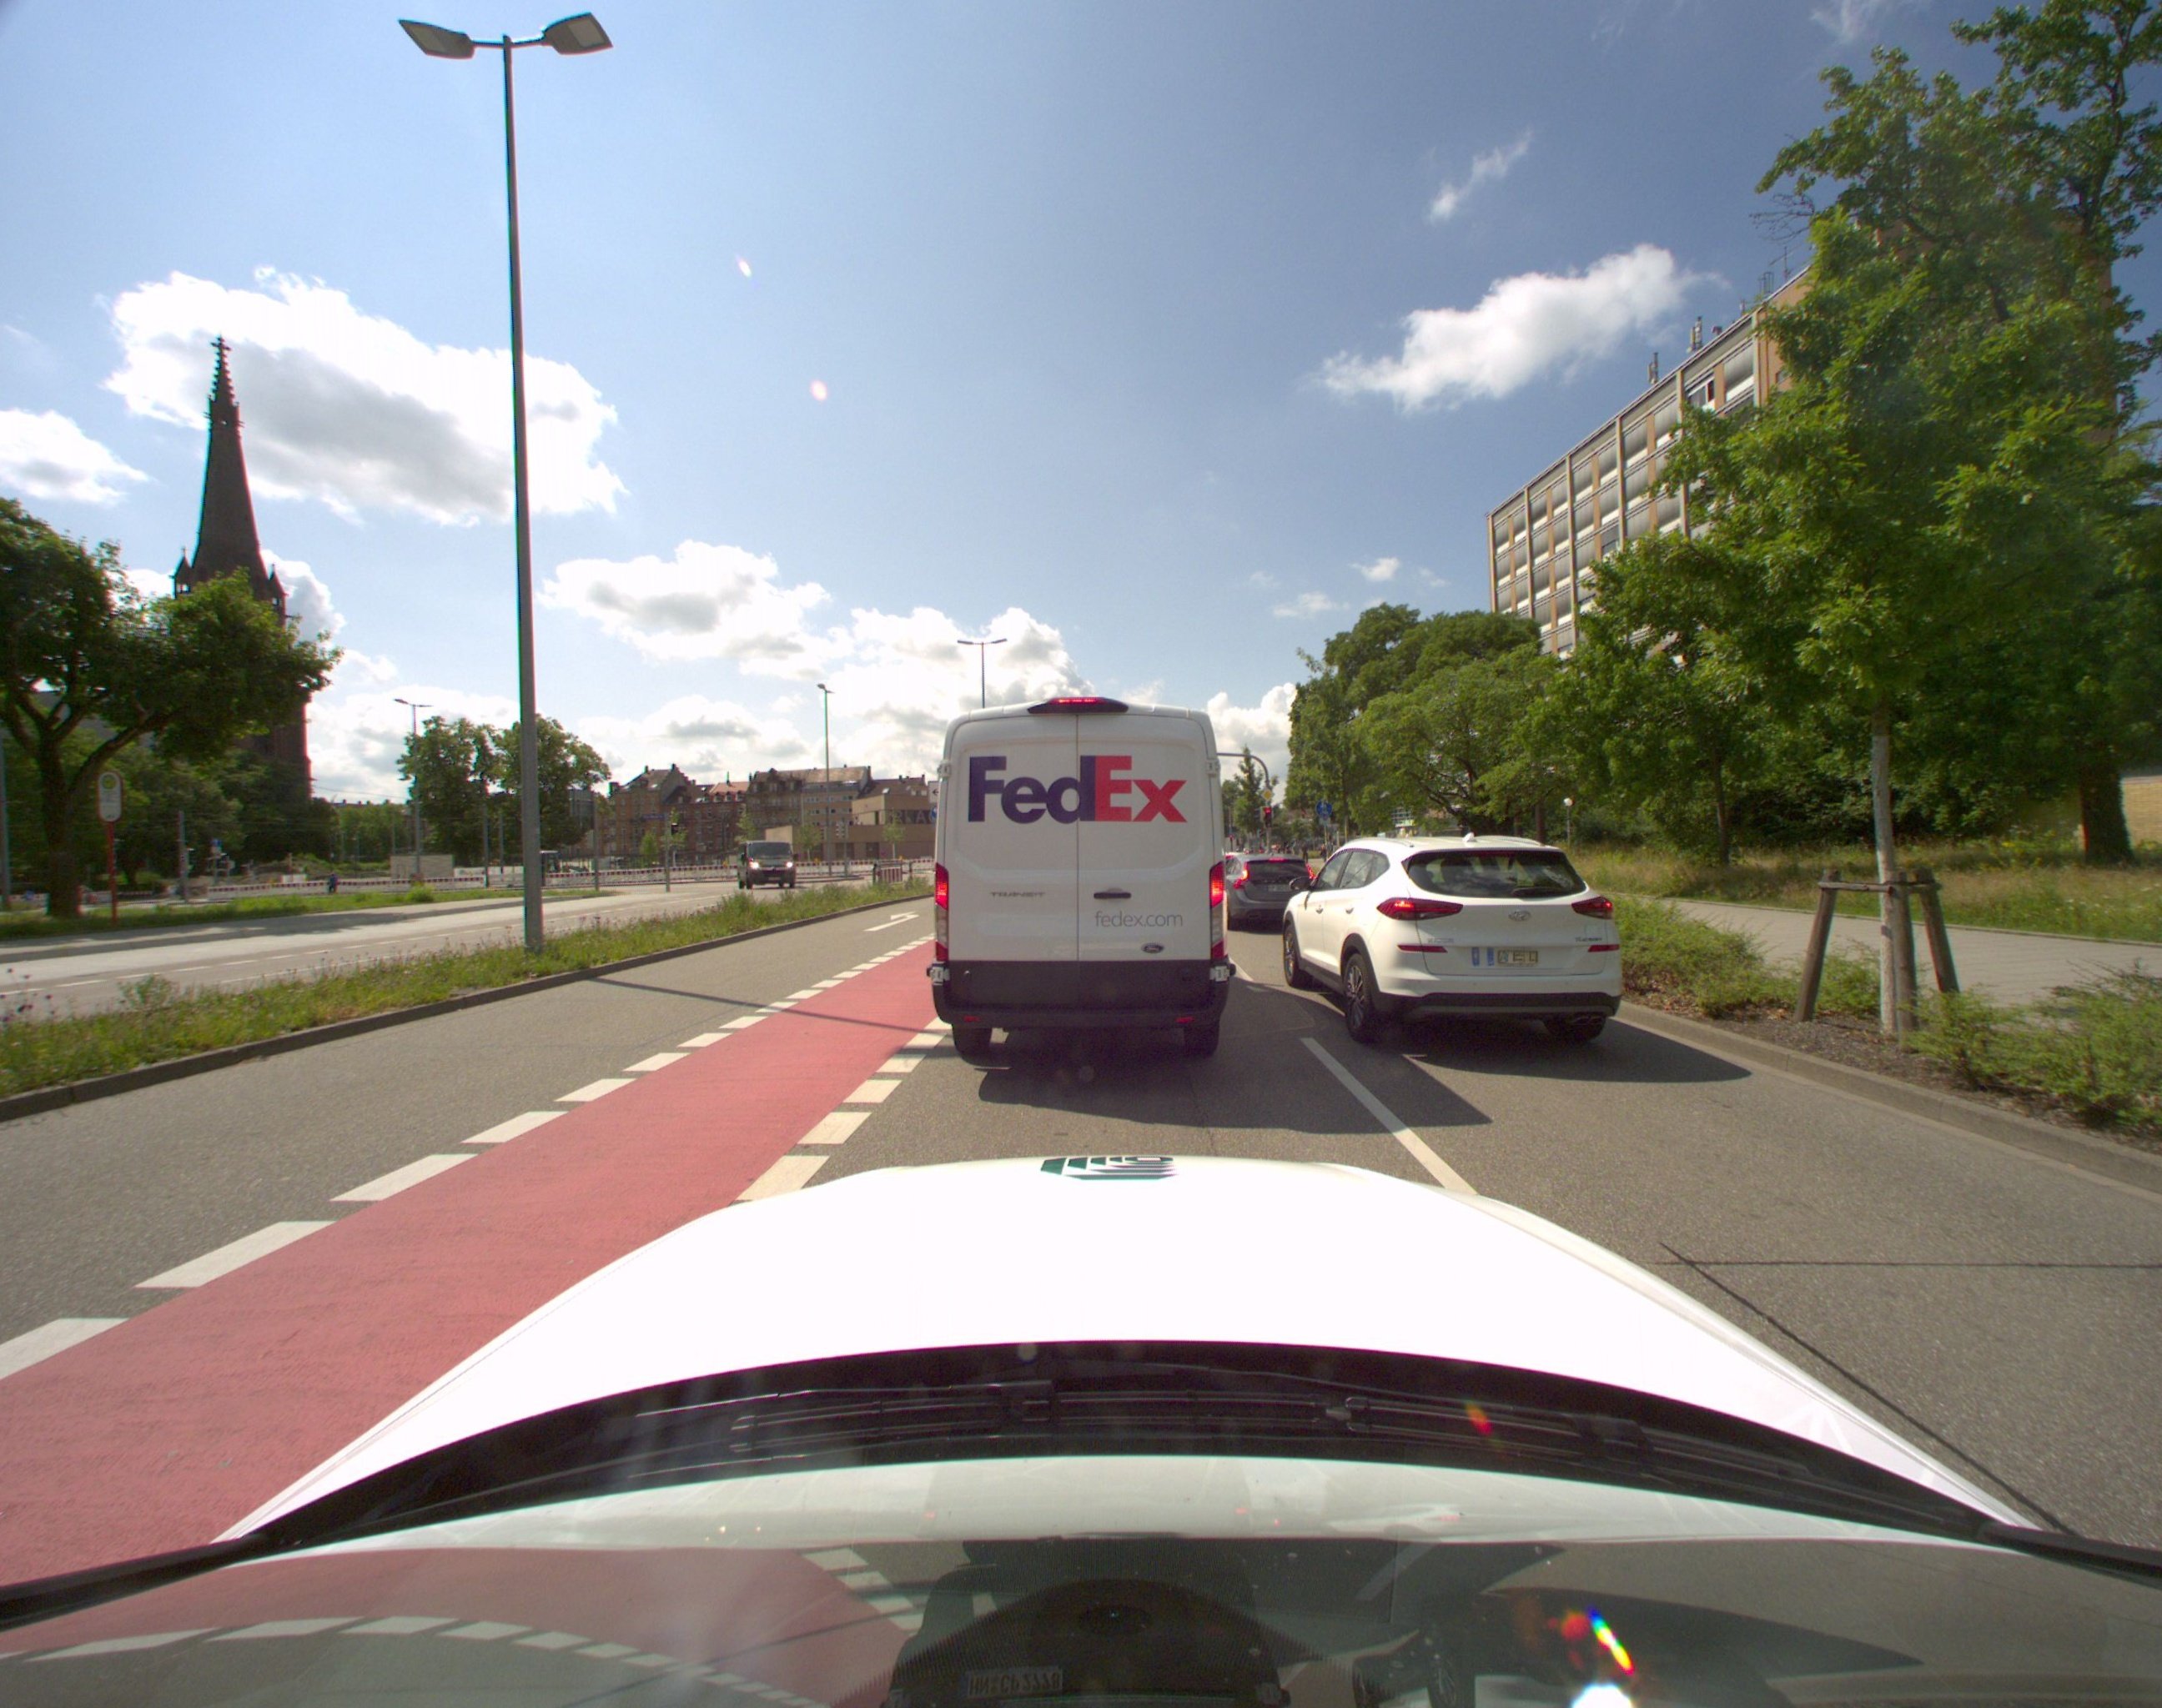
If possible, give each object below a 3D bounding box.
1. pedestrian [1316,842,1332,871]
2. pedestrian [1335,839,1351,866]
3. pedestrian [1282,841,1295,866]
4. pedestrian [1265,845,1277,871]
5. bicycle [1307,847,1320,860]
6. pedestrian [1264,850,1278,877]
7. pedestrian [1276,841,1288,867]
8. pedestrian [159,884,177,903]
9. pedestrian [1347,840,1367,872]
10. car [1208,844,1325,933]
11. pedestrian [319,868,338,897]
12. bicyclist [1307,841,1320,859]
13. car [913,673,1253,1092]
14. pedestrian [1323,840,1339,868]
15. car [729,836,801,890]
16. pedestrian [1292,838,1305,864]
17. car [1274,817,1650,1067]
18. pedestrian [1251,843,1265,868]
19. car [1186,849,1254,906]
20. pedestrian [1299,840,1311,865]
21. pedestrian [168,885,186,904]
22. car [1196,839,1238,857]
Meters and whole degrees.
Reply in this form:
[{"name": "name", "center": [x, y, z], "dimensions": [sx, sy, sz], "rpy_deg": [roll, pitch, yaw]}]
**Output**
[{"name": "pedestrian", "center": [16.125, 0.151, 54.030], "dimensions": [0.756, 1.849, 0.816], "rpy_deg": [-2, 0, 1]}, {"name": "pedestrian", "center": [18.043, -0.093, 56.078], "dimensions": [0.758, 1.849, 0.814], "rpy_deg": [-2, 0, -6]}, {"name": "pedestrian", "center": [15.541, -0.028, 60.972], "dimensions": [0.755, 1.849, 0.817], "rpy_deg": [-2, 0, 5]}, {"name": "pedestrian", "center": [13.728, 0.315, 58.869], "dimensions": [0.753, 1.849, 0.820], "rpy_deg": [-2, 0, 16]}, {"name": "bicycle", "center": [27.668, -0.074, 96.844], "dimensions": [1.414, 1.464, 4.330], "rpy_deg": [-2, 0, 17]}, {"name": "pedestrian", "center": [13.183, 0.675, 56.526], "dimensions": [0.752, 1.849, 0.820], "rpy_deg": [-2, 0, 20]}, {"name": "pedestrian", "center": [14.859, -0.002, 60.180], "dimensions": [0.752, 1.849, 0.820], "rpy_deg": [-2, 0, 20]}, {"name": "pedestrian", "center": [-81.784, 3.528, 72.946], "dimensions": [0.860, 1.663, 0.745], "rpy_deg": [-2, 0, -29]}, {"name": "pedestrian", "center": [14.577, 0.113, 43.004], "dimensions": [0.755, 1.655, 0.817], "rpy_deg": [-2, 0, 5]}, {"name": "car", "center": [3.626, 0.609, 16.524], "dimensions": [1.684, 1.549, 3.724], "rpy_deg": [-2, 0, 3]}, {"name": "pedestrian", "center": [-52.426, 1.972, 56.760], "dimensions": [0.644, 2.013, 0.632], "rpy_deg": [-2, 0, -1]}, {"name": "bicyclist", "center": [27.631, -0.489, 96.758], "dimensions": [1.421, 2.171, 1.345], "rpy_deg": [-2, 0, 17]}, {"name": "car", "center": [0.135, 0.171, 7.339], "dimensions": [2.064, 2.581, 4.432], "rpy_deg": [-2, 0, 3]}, {"name": "pedestrian", "center": [17.178, 0.005, 55.919], "dimensions": [0.758, 1.849, 0.814], "rpy_deg": [-2, 0, -8]}, {"name": "car", "center": [-14.504, 0.423, 37.211], "dimensions": [2.162, 2.175, 4.969], "rpy_deg": [-4, 0, -30]}, {"name": "pedestrian", "center": [16.014, -0.240, 59.942], "dimensions": [0.755, 1.849, 0.817], "rpy_deg": [-2, 0, 3]}, {"name": "car", "center": [3.088, 0.594, 7.602], "dimensions": [1.807, 1.678, 3.978], "rpy_deg": [-2, 0, 3]}, {"name": "pedestrian", "center": [13.014, 0.114, 59.855], "dimensions": [0.810, 1.849, 0.762], "rpy_deg": [-2, 0, 5]}, {"name": "car", "center": [3.917, 0.609, 23.366], "dimensions": [1.493, 1.464, 3.477], "rpy_deg": [-2, 0, 3]}, {"name": "pedestrian", "center": [16.155, -0.111, 58.702], "dimensions": [0.754, 1.789, 0.818], "rpy_deg": [-2, 0, 10]}, {"name": "pedestrian", "center": [-82.001, 3.634, 73.902], "dimensions": [0.860, 1.663, 0.745], "rpy_deg": [-2, 0, -29]}, {"name": "car", "center": [21.056, -0.953, 125.818], "dimensions": [7.122, 2.717, 2.466], "rpy_deg": [0, -1, -41]}]
